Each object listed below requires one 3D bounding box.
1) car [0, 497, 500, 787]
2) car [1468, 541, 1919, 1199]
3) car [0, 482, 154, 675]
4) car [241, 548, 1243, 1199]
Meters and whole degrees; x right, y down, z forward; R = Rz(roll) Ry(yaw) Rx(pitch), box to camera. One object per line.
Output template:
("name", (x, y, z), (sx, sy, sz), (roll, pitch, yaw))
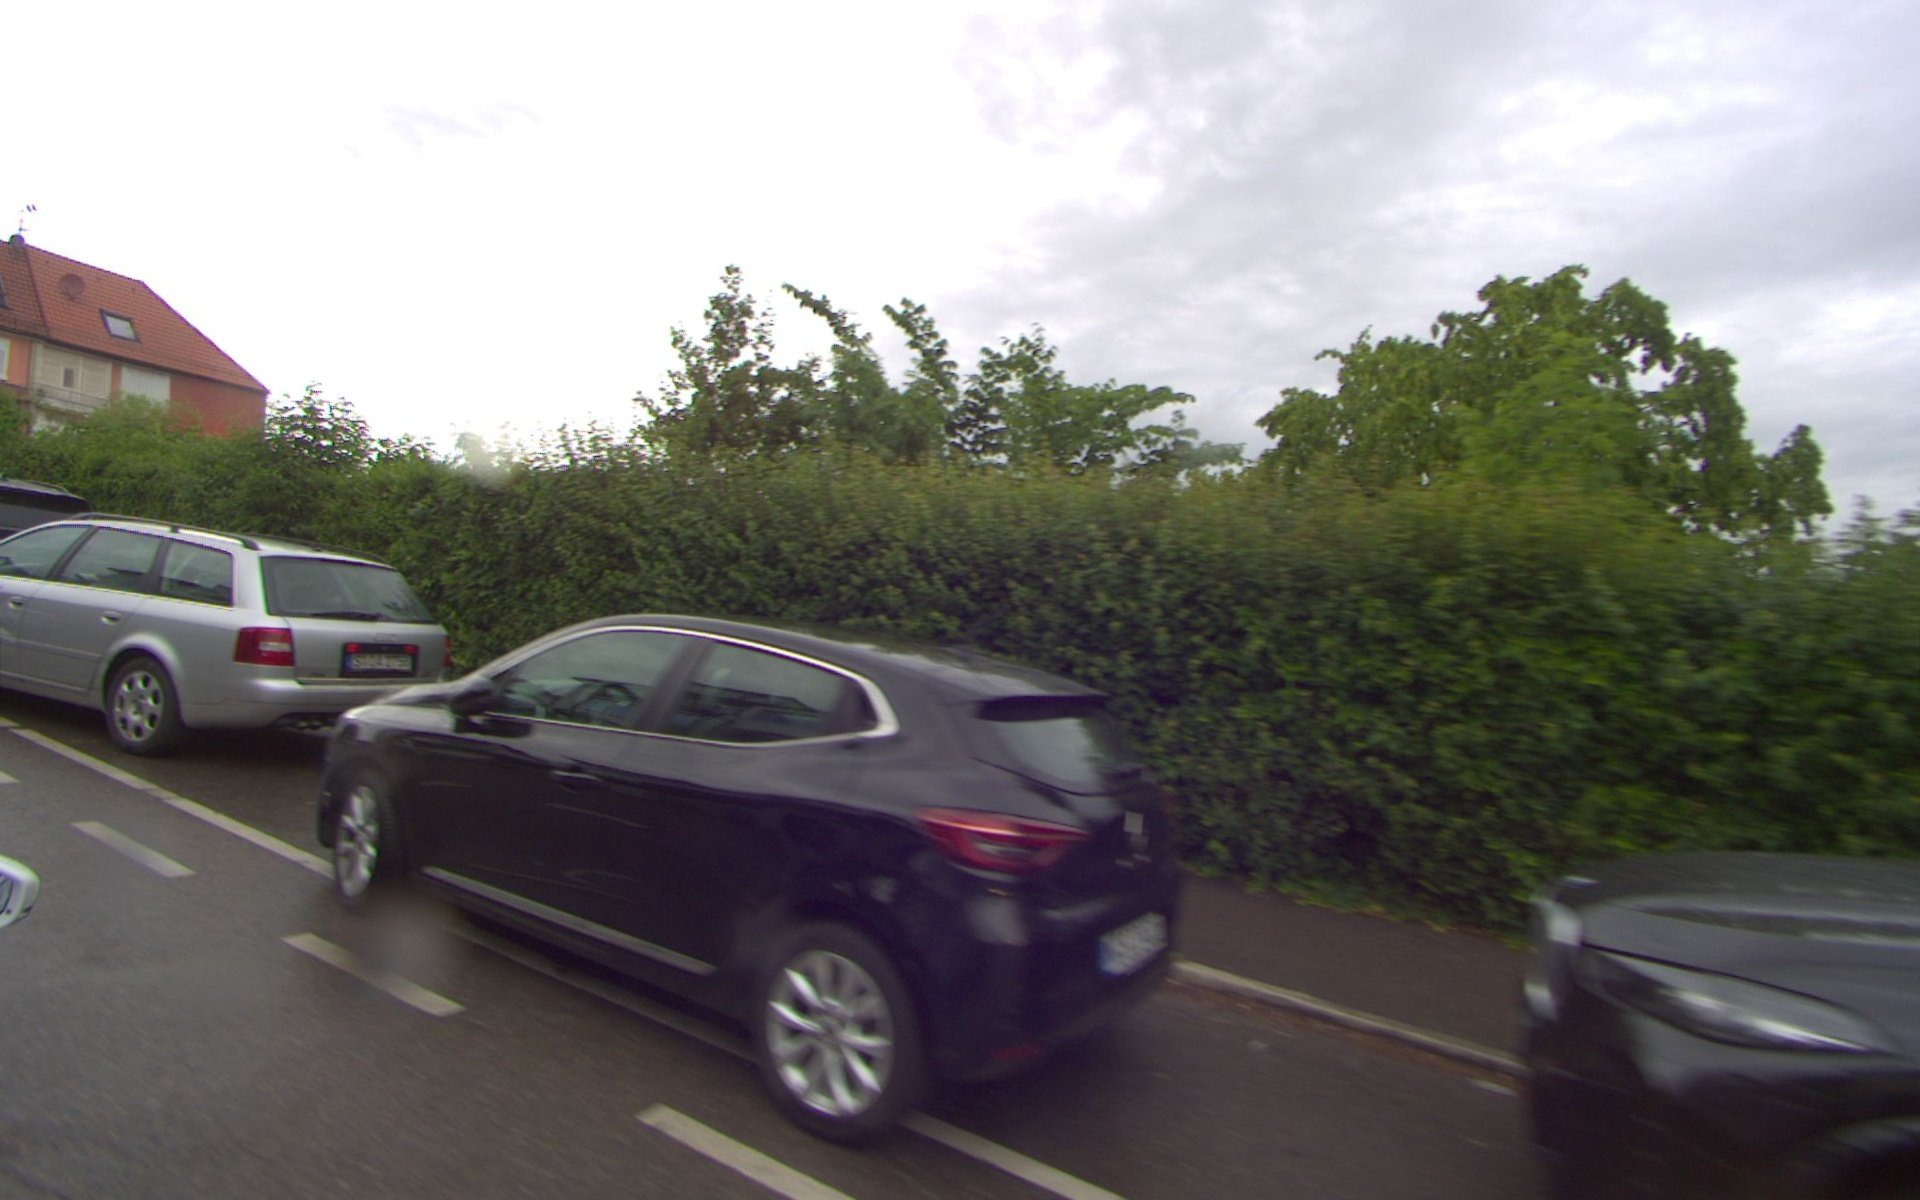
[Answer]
("car", (-6.000, 0.141, 7.426), (4.554, 1.457, 1.807), (8, -1, 17))
("car", (3.716, 1.126, 1.785), (4.817, 1.804, 2.030), (8, 0, 31))
("car", (-10.489, -0.438, 10.253), (4.470, 1.681, 1.892), (7, -2, 30))
("car", (-1.073, 0.737, 4.216), (3.918, 1.439, 1.691), (6, -1, 32))
